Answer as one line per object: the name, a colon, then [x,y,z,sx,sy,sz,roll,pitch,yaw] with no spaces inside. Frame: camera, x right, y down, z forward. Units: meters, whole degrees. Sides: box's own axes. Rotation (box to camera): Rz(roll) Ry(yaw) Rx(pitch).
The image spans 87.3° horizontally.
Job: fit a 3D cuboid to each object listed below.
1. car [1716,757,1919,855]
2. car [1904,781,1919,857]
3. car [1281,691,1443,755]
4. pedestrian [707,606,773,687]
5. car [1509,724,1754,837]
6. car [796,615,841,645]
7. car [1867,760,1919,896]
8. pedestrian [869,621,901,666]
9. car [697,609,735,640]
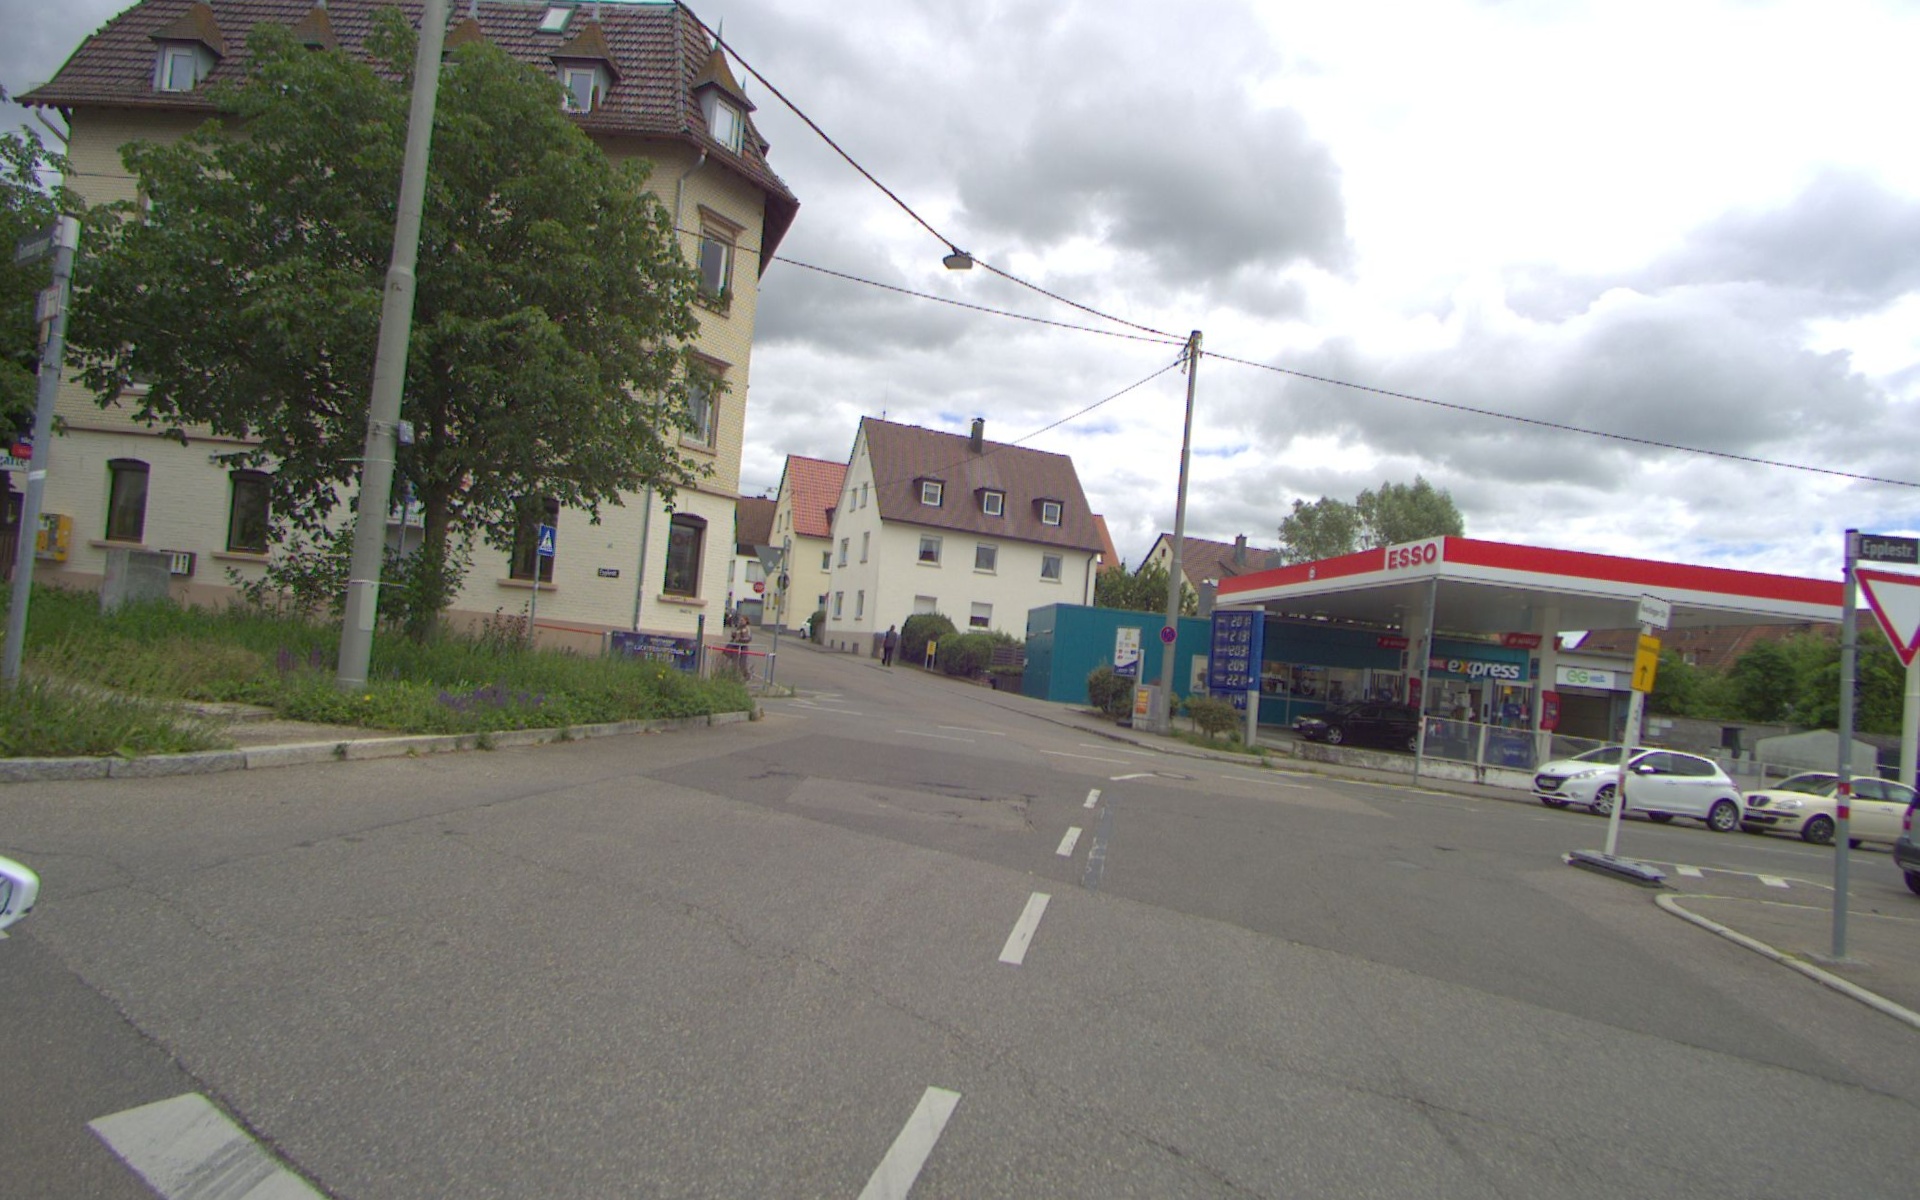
car: [18.356,4.337,21.138,3.700,1.492,1.628,6,-2,-3]
car: [22.866,5.039,21.448,3.930,1.613,1.723,9,-3,-4]
car: [12.976,3.962,32.613,4.403,1.478,1.924,6,-2,-5]
pedestrian: [-5.260,1.124,24.071,0.846,1.751,1.021,6,-3,32]
car: [13.667,3.663,20.602,3.764,1.497,1.773,9,0,-5]
car: [-8.896,1.854,62.942,1.799,1.617,3.874,9,-4,-20]
car: [14.043,3.175,12.560,3.931,1.635,1.776,9,-3,-6]
pedestrian: [-3.177,1.858,42.677,0.904,1.757,0.741,9,-3,-28]
car: [-19.012,1.905,78.164,1.976,2.035,3.981,10,-4,-23]
